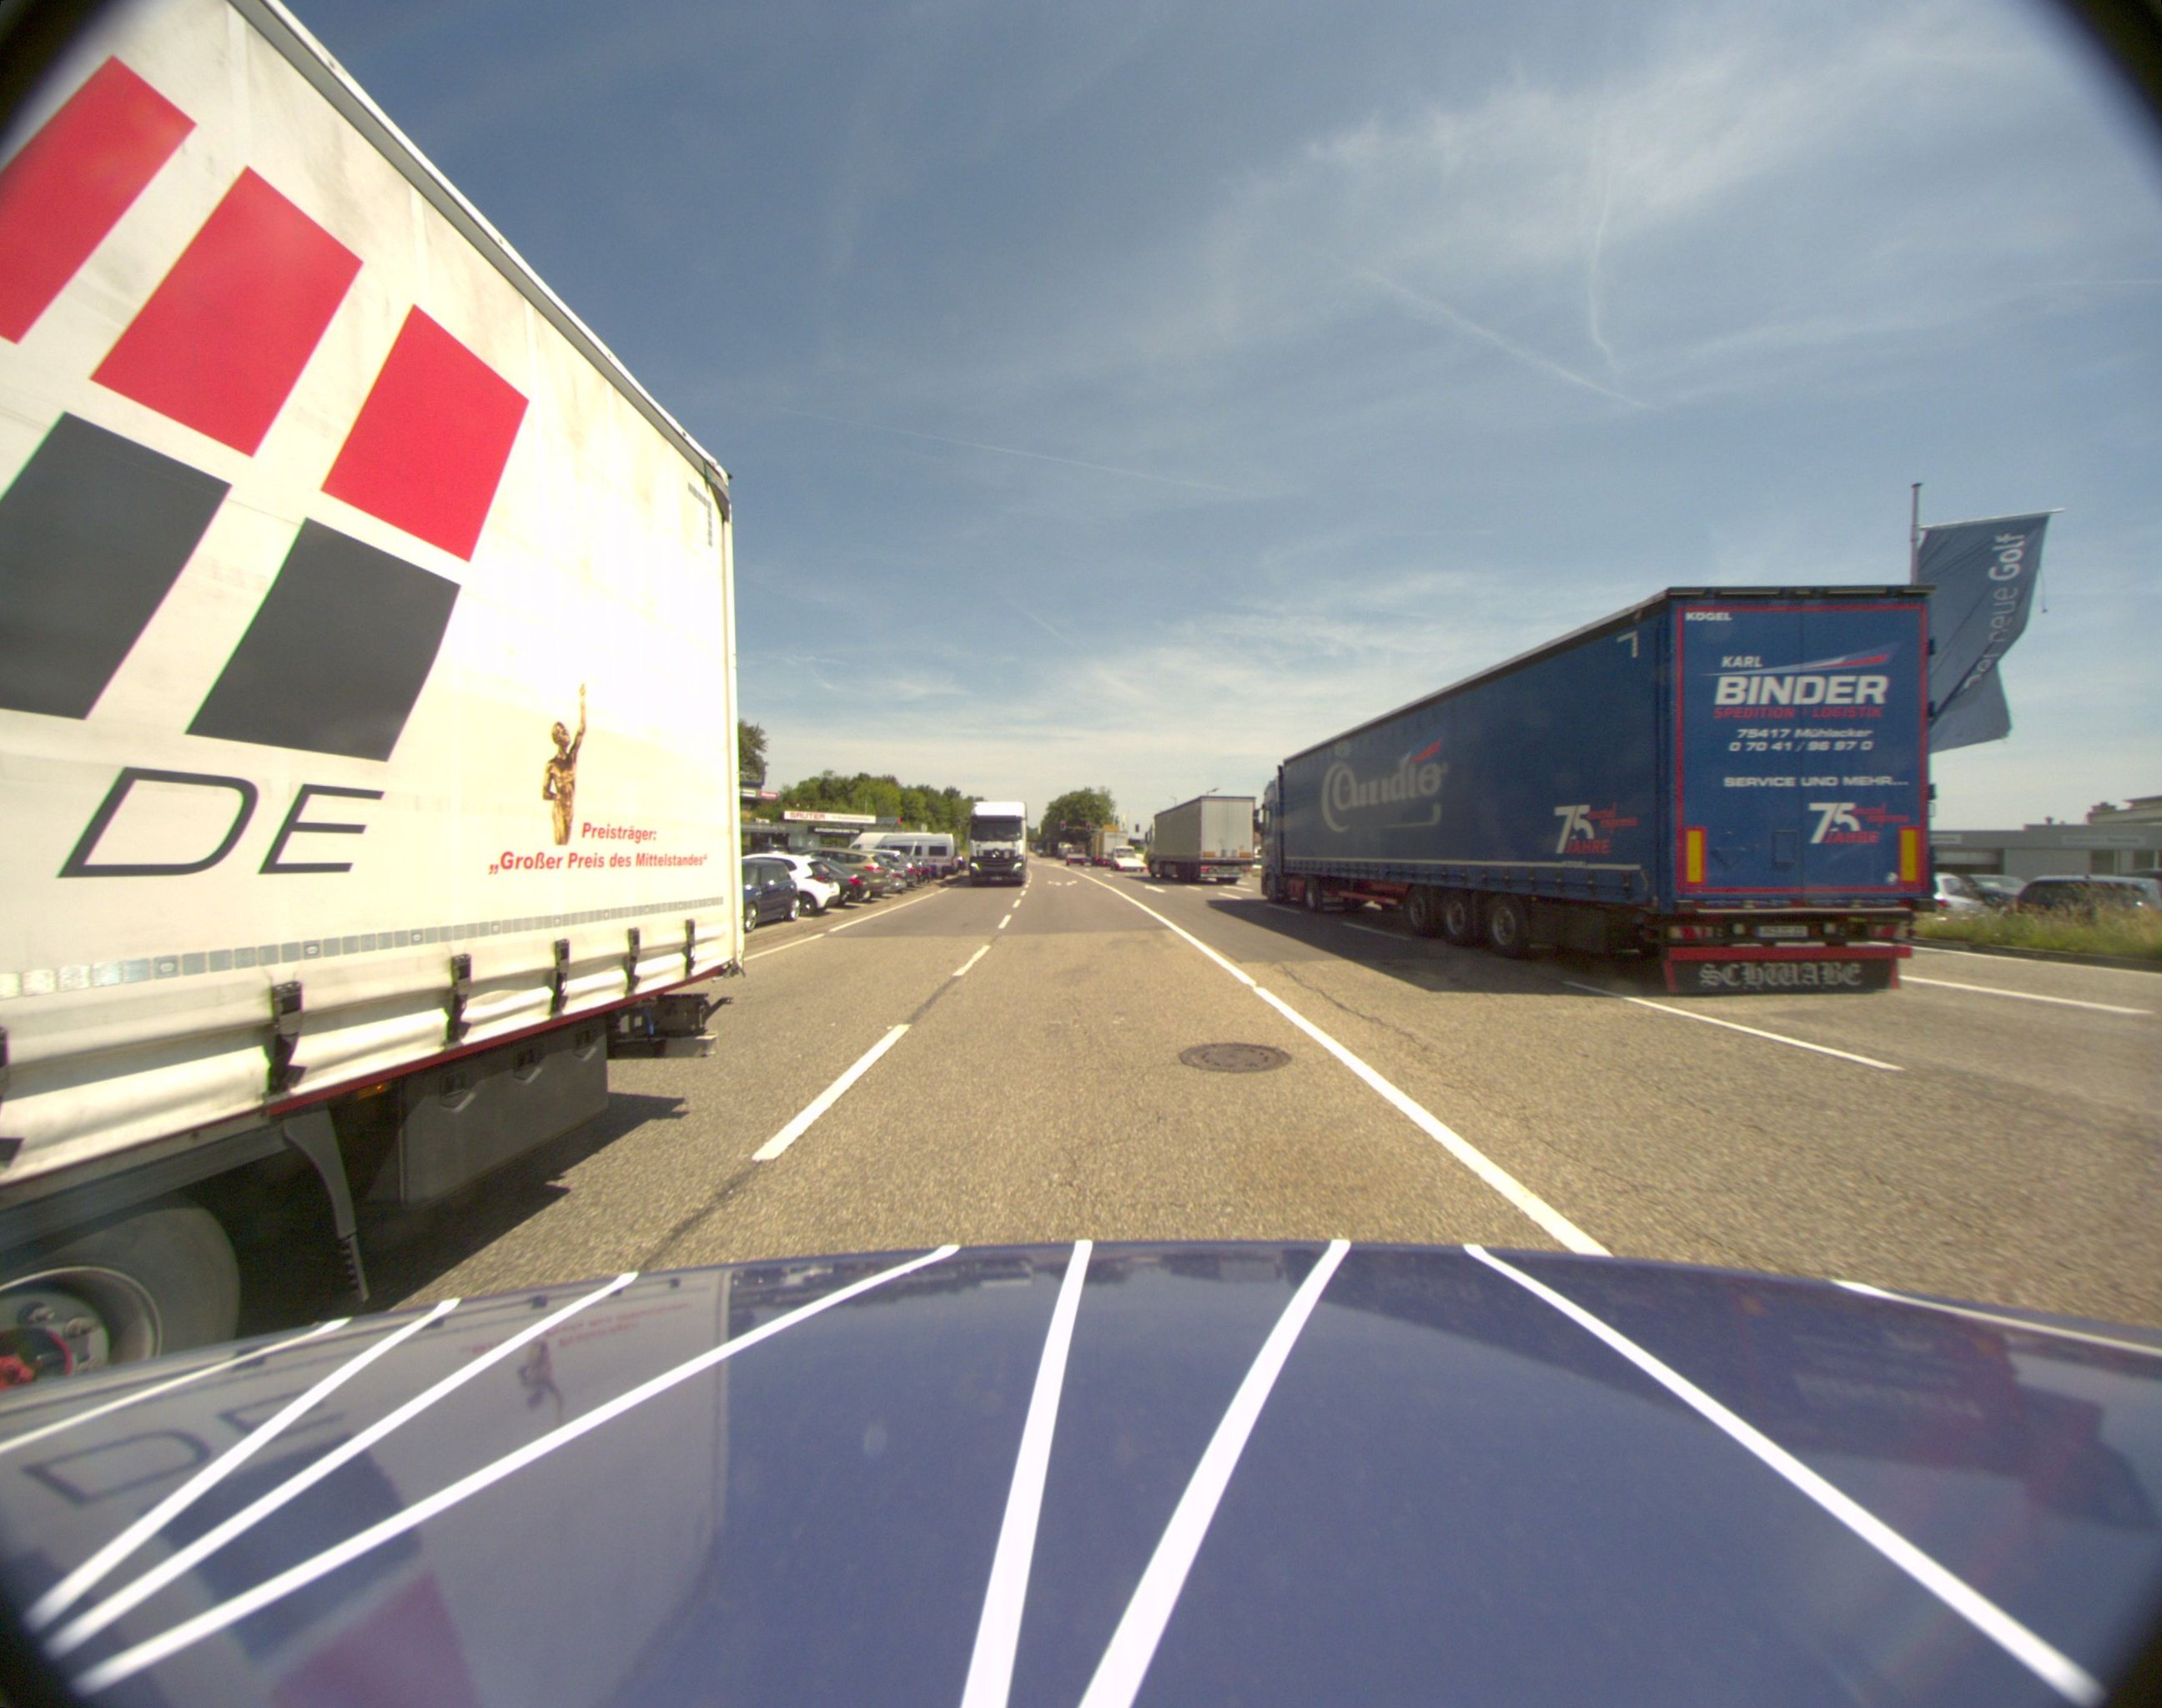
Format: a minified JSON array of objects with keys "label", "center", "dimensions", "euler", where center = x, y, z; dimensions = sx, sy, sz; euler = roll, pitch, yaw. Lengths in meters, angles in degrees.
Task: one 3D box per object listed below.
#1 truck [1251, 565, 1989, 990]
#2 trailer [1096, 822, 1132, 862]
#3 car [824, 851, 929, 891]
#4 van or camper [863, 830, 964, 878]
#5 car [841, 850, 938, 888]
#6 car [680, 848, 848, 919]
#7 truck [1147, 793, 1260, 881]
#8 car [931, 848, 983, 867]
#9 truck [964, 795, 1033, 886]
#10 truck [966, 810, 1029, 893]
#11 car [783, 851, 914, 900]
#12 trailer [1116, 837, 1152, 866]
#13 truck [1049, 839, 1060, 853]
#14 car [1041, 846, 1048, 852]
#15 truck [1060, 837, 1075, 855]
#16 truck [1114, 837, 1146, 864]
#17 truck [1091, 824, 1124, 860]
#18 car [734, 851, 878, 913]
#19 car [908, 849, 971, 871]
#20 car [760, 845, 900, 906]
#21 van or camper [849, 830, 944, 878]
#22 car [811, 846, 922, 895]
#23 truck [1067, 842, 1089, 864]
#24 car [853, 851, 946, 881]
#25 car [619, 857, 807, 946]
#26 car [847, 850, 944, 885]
[{"label":"truck","center":[6.906,-0.854,15.525],"dimensions":[2.851,3.867,17.000],"euler":[-1,1,0]},{"label":"trailer","center":[3.662,-1.313,87.033],"dimensions":[3.020,4.262,10.054],"euler":[0,1,-3]},{"label":"car","center":[-8.715,0.711,32.716],"dimensions":[4.023,1.473,1.977],"euler":[3,1,-6]},{"label":"van or camper","center":[-9.895,-0.010,45.251],"dimensions":[5.490,2.714,2.231],"euler":[0,1,-2]},{"label":"car","center":[-8.703,0.674,34.853],"dimensions":[4.023,1.473,1.977],"euler":[3,1,-6]},{"label":"car","center":[-8.094,0.730,19.675],"dimensions":[3.537,1.469,1.831],"euler":[5,1,-5]},{"label":"truck","center":[6.250,-0.905,42.423],"dimensions":[2.798,3.867,16.474],"euler":[-1,1,-3]},{"label":"car","center":[-11.330,0.294,69.043],"dimensions":[4.918,1.379,1.932],"euler":[4,2,42]},{"label":"truck","center":[-4.053,-0.638,37.082],"dimensions":[2.982,3.987,6.322],"euler":[1,1,-7]},{"label":"truck","center":[-4.915,-0.181,44.412],"dimensions":[2.982,3.987,14.112],"euler":[1,0,-7]},{"label":"car","center":[-8.259,0.749,27.292],"dimensions":[4.148,1.414,1.791],"euler":[4,1,-6]},{"label":"trailer","center":[4.476,-0.268,65.473],"dimensions":[2.434,2.325,6.894],"euler":[2,1,-1]},{"label":"truck","center":[-7.742,-2.198,222.822],"dimensions":[2.852,3.932,17.080],"euler":[-1,0,-3]},{"label":"car","center":[-9.808,-1.303,204.850],"dimensions":[1.688,1.420,4.151],"euler":[2,2,-4]},{"label":"truck","center":[-3.127,-1.791,172.865],"dimensions":[2.612,3.995,15.124],"euler":[-1,0,-3]},{"label":"truck","center":[4.397,-0.312,69.239],"dimensions":[2.431,2.327,5.673],"euler":[2,0,-1]},{"label":"truck","center":[3.184,-1.449,93.324],"dimensions":[3.037,4.081,10.349],"euler":[0,1,-4]},{"label":"car","center":[-8.003,0.794,22.372],"dimensions":[3.537,1.469,1.831],"euler":[5,1,-5]},{"label":"car","center":[-10.274,0.391,55.445],"dimensions":[4.339,1.490,2.080],"euler":[-1,1,-6]},{"label":"car","center":[-8.098,0.671,24.819],"dimensions":[3.865,1.682,1.942],"euler":[4,1,-3]},{"label":"van or camper","center":[-11.489,-0.019,47.653],"dimensions":[5.383,2.889,2.231],"euler":[0,1,-2]},{"label":"car","center":[-8.513,0.636,30.256],"dimensions":[4.027,1.665,2.197],"euler":[3,1,-17]},{"label":"truck","center":[-0.432,-0.145,91.127],"dimensions":[2.403,2.431,6.869],"euler":[-1,1,-2]},{"label":"car","center":[-9.499,0.634,40.103],"dimensions":[4.526,1.510,1.782],"euler":[0,1,-3]},{"label":"car","center":[-7.482,0.886,15.978],"dimensions":[1.999,1.425,3.998],"euler":[4,1,-1]},{"label":"car","center":[-9.040,0.636,37.332],"dimensions":[4.277,1.405,2.162],"euler":[3,1,-6]}]
